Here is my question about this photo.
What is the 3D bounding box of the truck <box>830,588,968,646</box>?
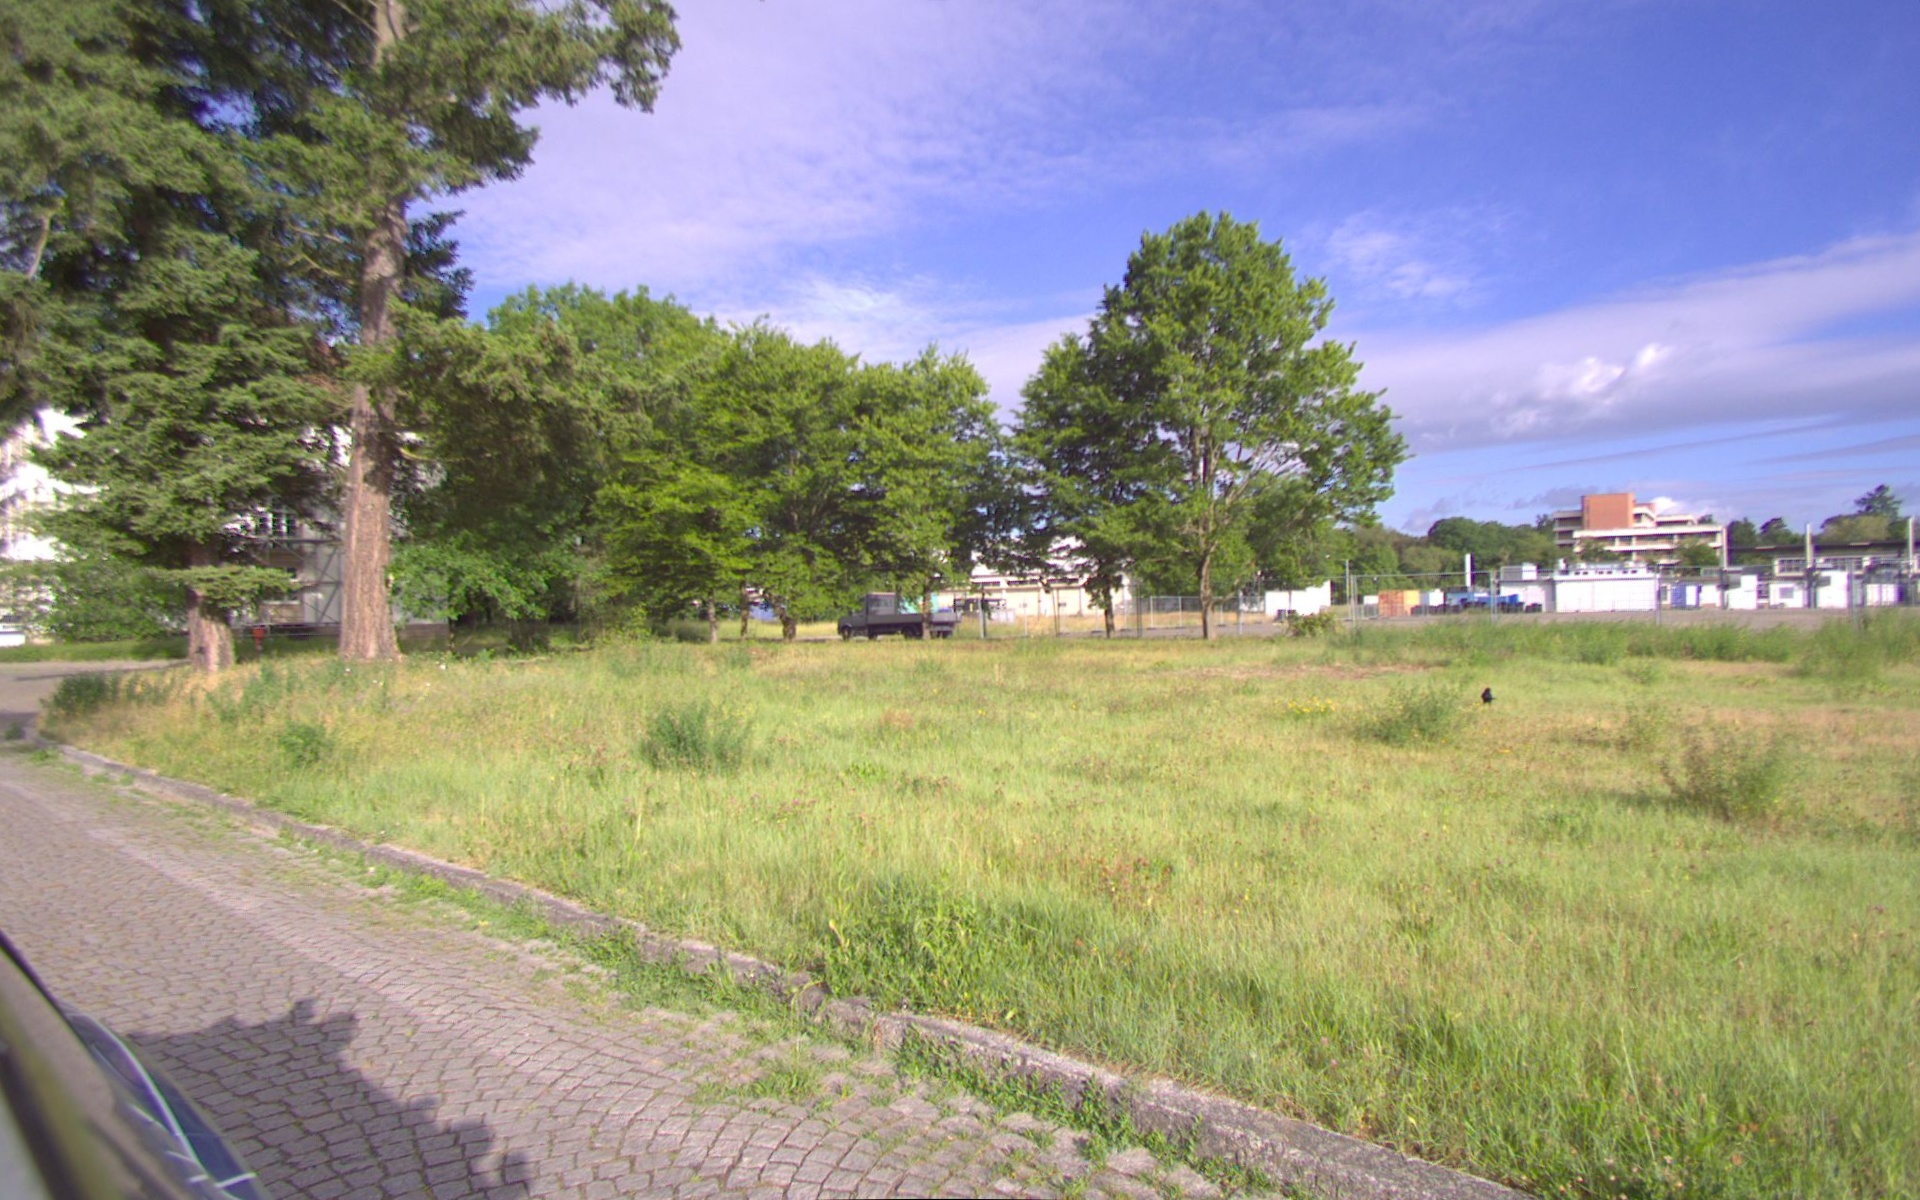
[{"bbox_3d":[-3.055,0.855,48.907,6.955,2.606,2.386,-2,-1,41],"label":"truck"}]
